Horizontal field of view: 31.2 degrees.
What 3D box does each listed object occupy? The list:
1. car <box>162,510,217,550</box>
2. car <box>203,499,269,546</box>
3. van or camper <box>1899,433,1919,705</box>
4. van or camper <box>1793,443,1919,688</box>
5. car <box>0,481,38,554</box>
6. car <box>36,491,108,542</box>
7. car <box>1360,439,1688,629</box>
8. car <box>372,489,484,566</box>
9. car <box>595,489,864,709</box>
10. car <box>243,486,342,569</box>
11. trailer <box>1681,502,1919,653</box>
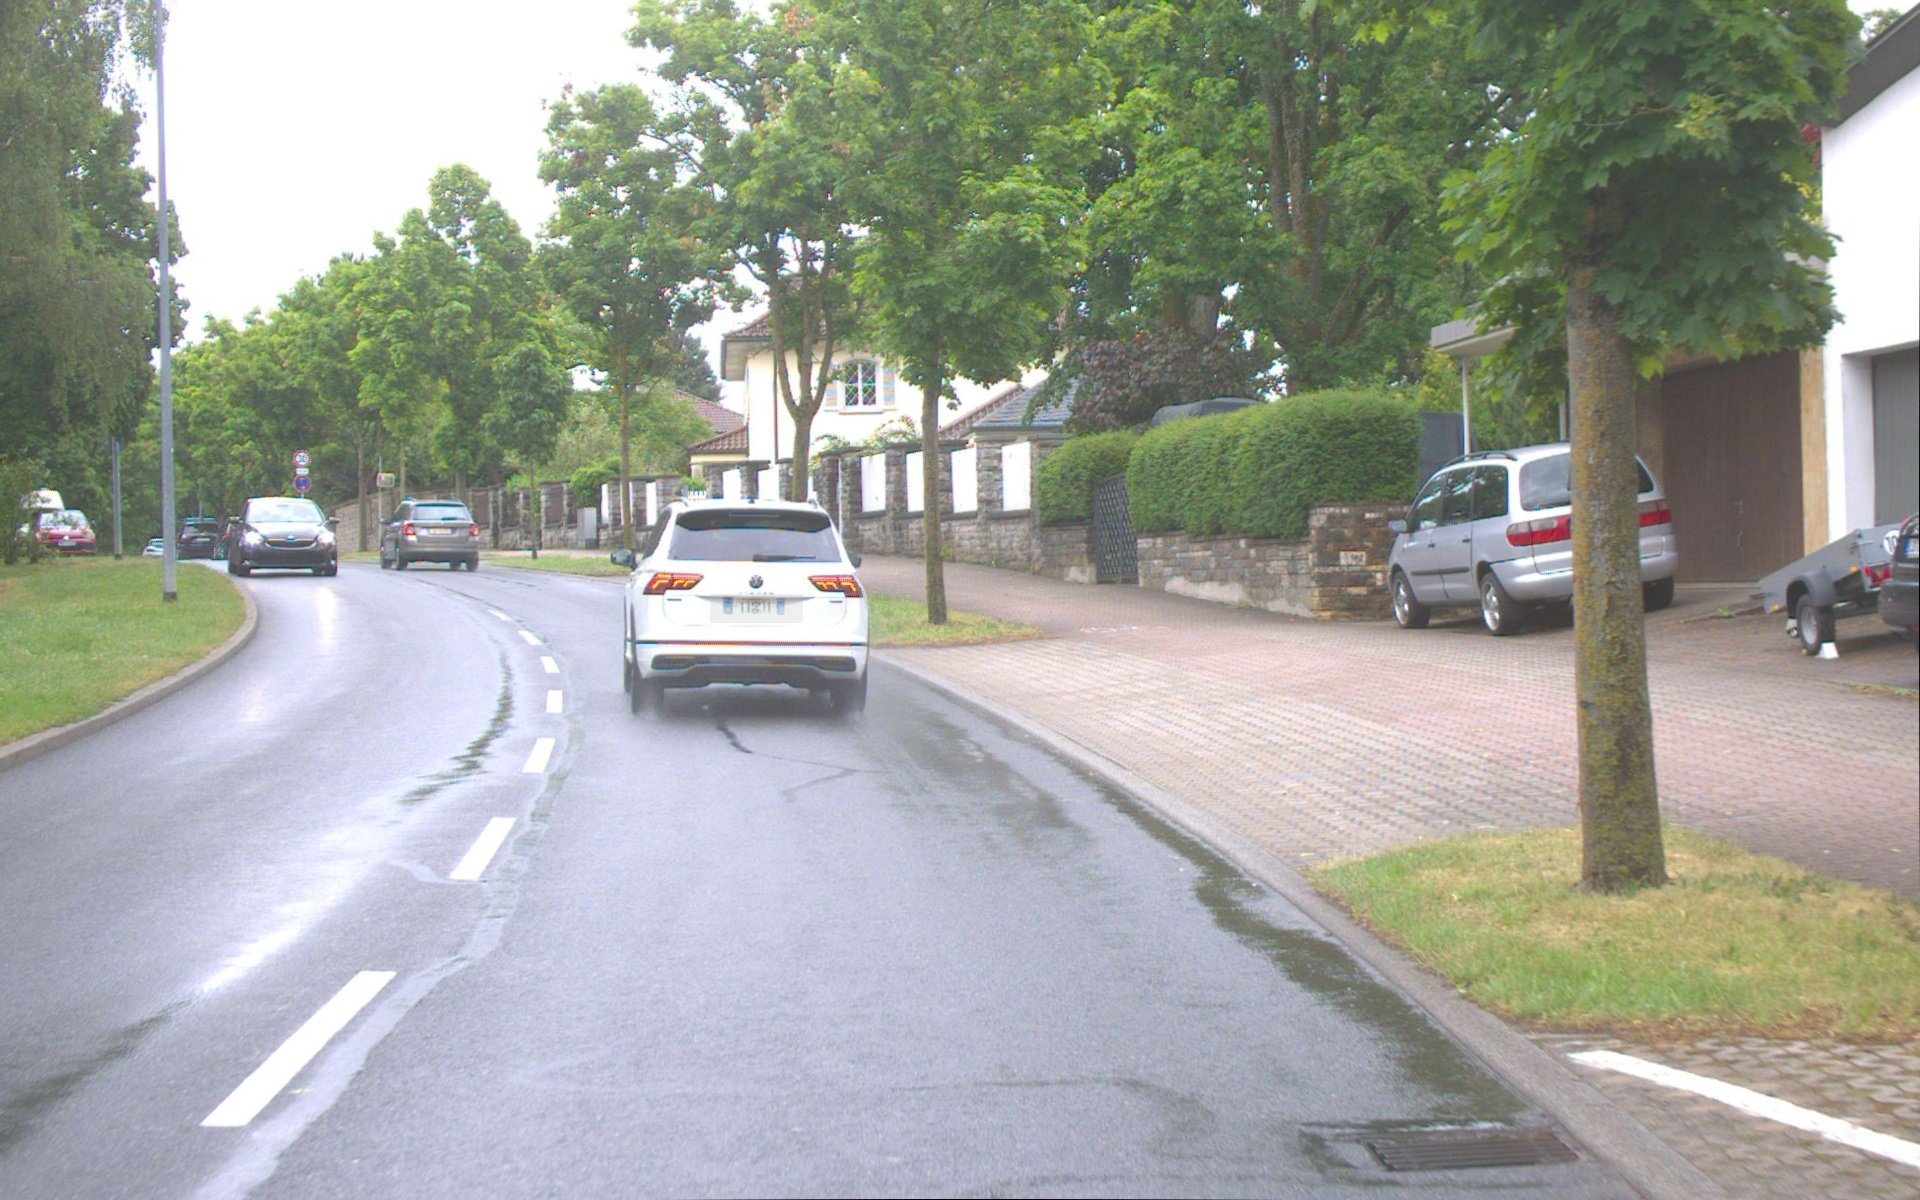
[{"bbox_3d":[-29.743,-2.707,132.633,1.851,1.413,4.228,1,2,-15],"label":"car"},{"bbox_3d":[-23.681,-2.543,112.310,1.851,1.413,4.228,1,2,-15],"label":"car"},{"bbox_3d":[7.941,-0.312,20.408,3.986,1.671,2.124,-4,2,-5],"label":"van or camper"},{"bbox_3d":[7.572,-0.337,22.974,3.401,1.550,1.770,-3,2,-10],"label":"van or camper"},{"bbox_3d":[-34.386,-2.938,123.890,1.993,2.552,5.234,-1,1,-17],"label":"car"},{"bbox_3d":[-26.226,-2.444,101.439,1.842,1.461,4.251,-1,1,-17],"label":"car"},{"bbox_3d":[5.574,-0.693,34.639,1.794,1.751,4.945,-1,2,-9],"label":"car"},{"bbox_3d":[-11.065,-1.528,71.316,1.840,1.482,4.002,1,2,-15],"label":"car"},{"bbox_3d":[-1.773,-0.069,27.604,1.996,1.626,4.001,0,2,-2],"label":"car"},{"bbox_3d":[-12.483,-1.374,64.175,1.754,1.436,4.159,1,2,-12],"label":"car"},{"bbox_3d":[6.887,-0.199,26.441,1.420,0.918,3.276,-9,2,-9],"label":"trailer"}]
